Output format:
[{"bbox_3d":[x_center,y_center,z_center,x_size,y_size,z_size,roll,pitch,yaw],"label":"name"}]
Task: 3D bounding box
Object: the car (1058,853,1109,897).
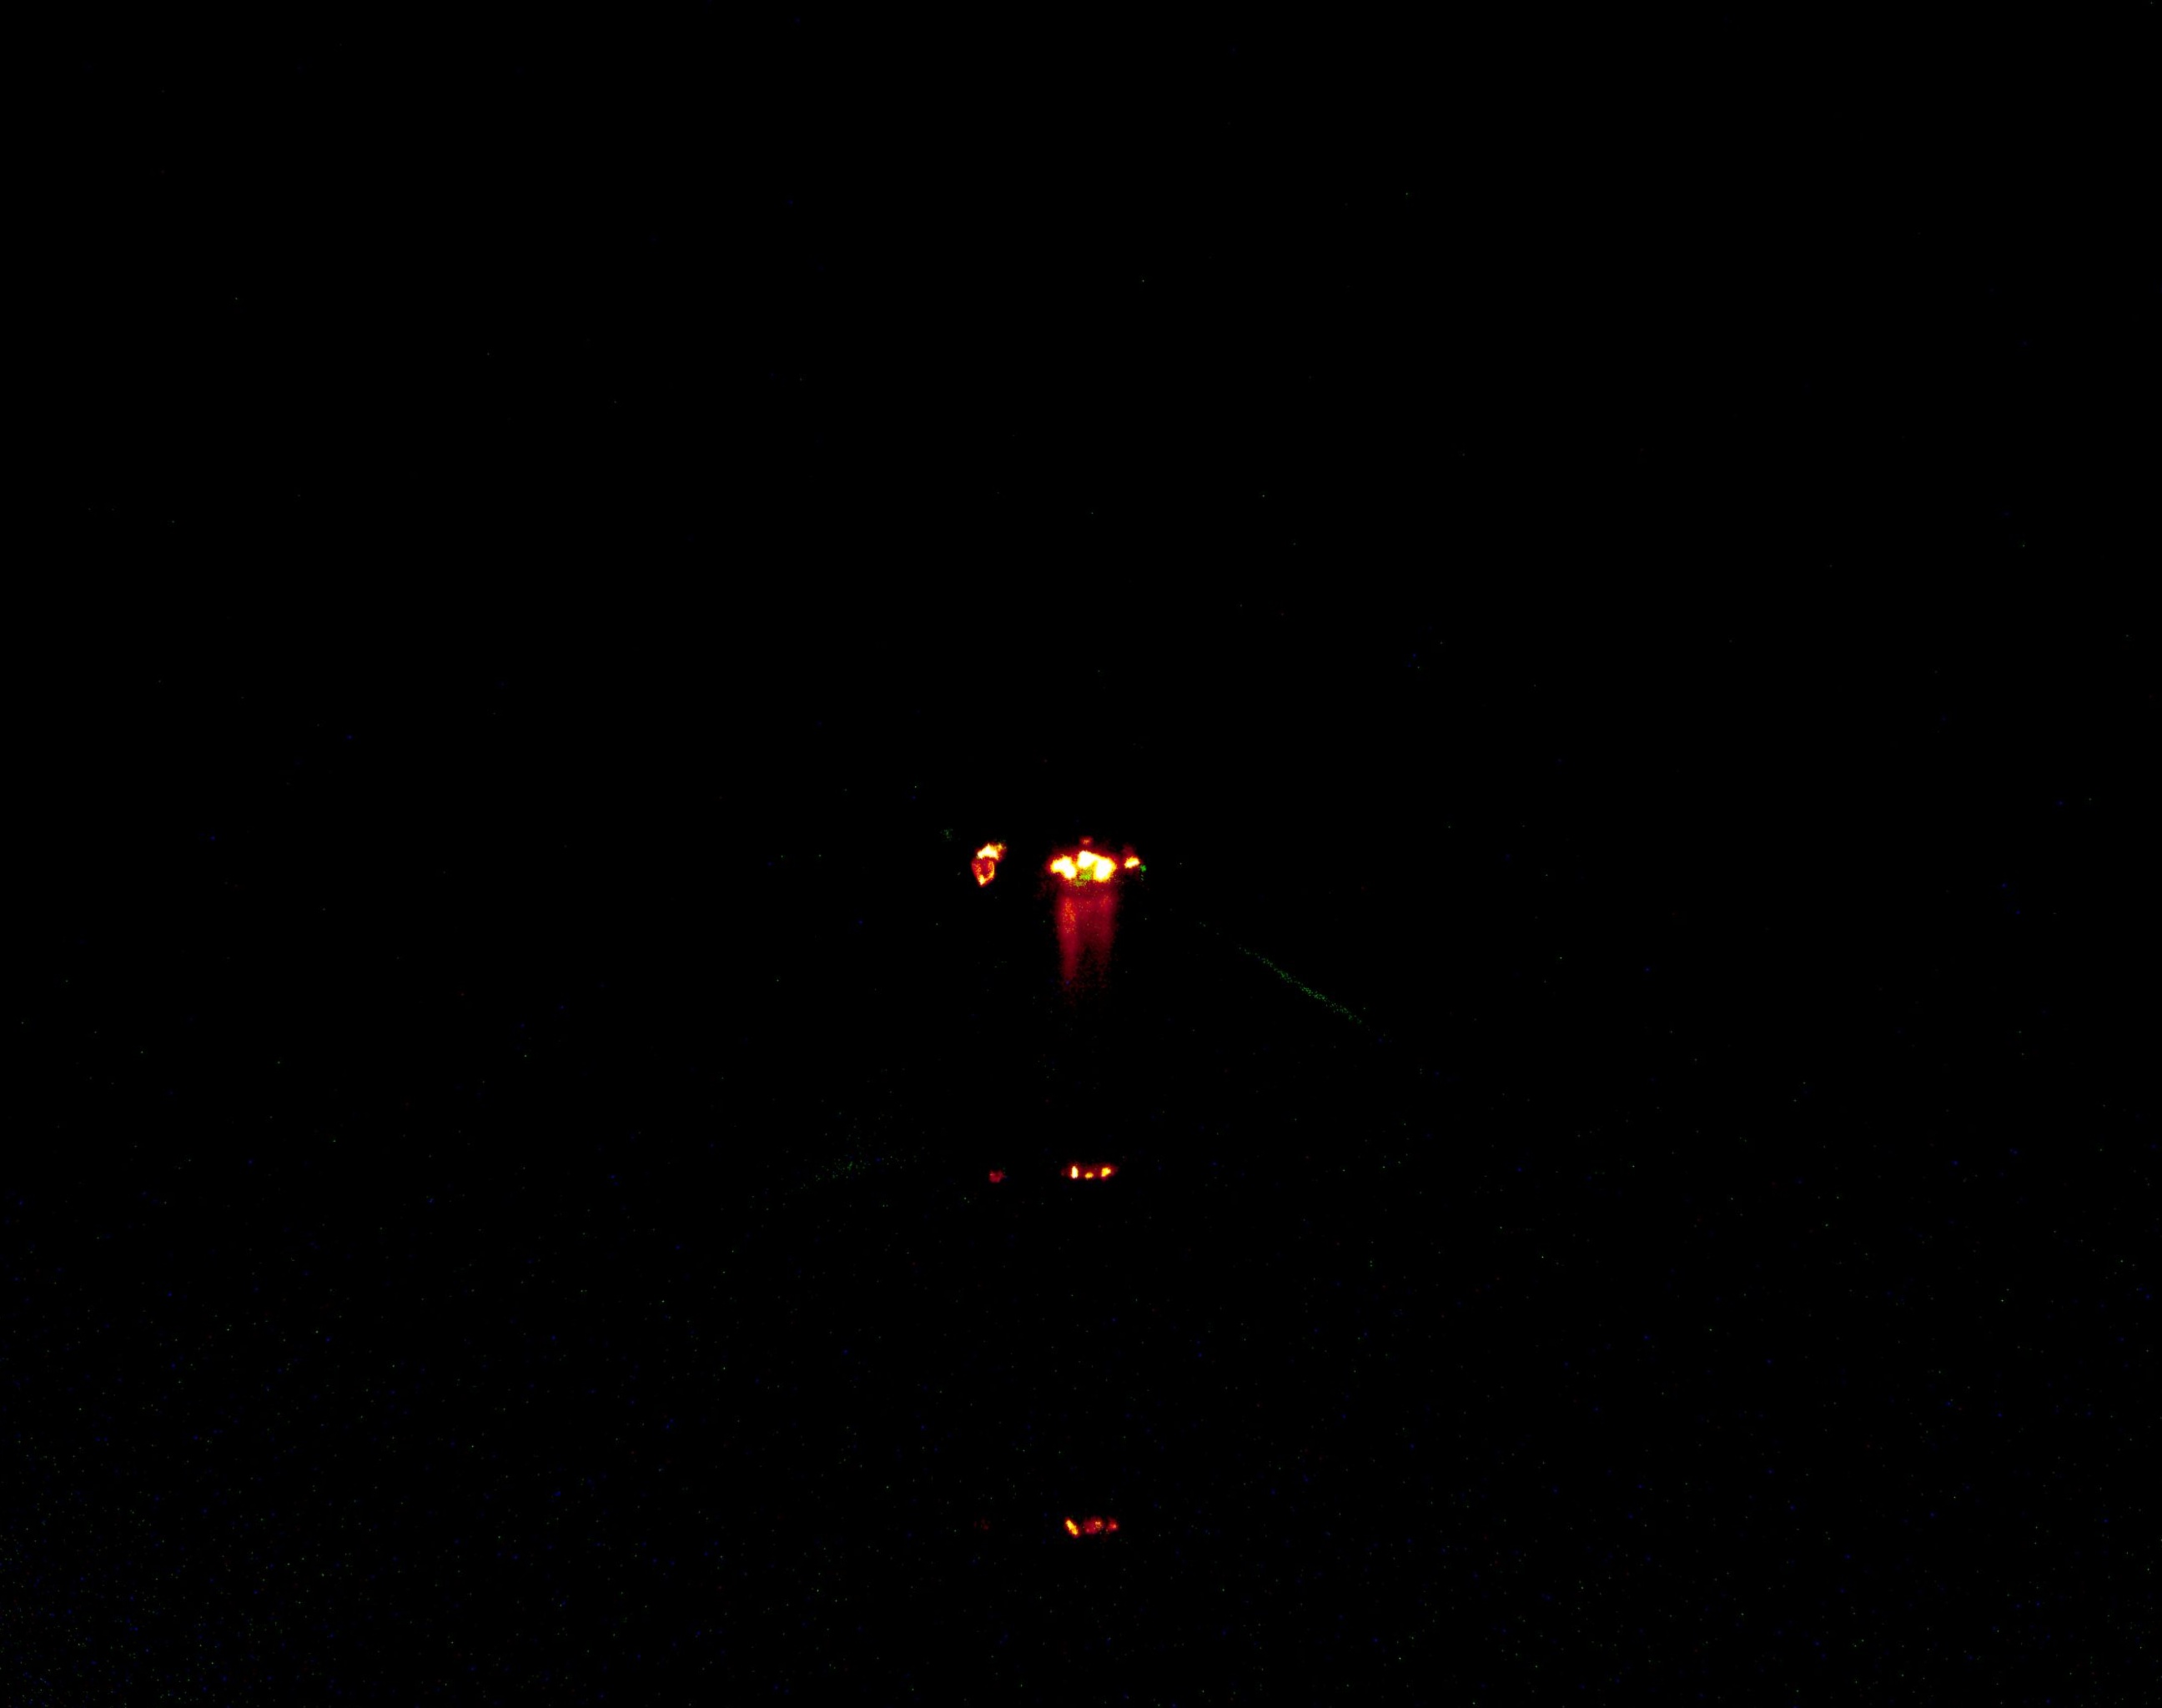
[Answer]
[{"bbox_3d":[0.054,0.812,34.059,1.988,1.628,4.983,0,1,-1],"label":"car"}]
